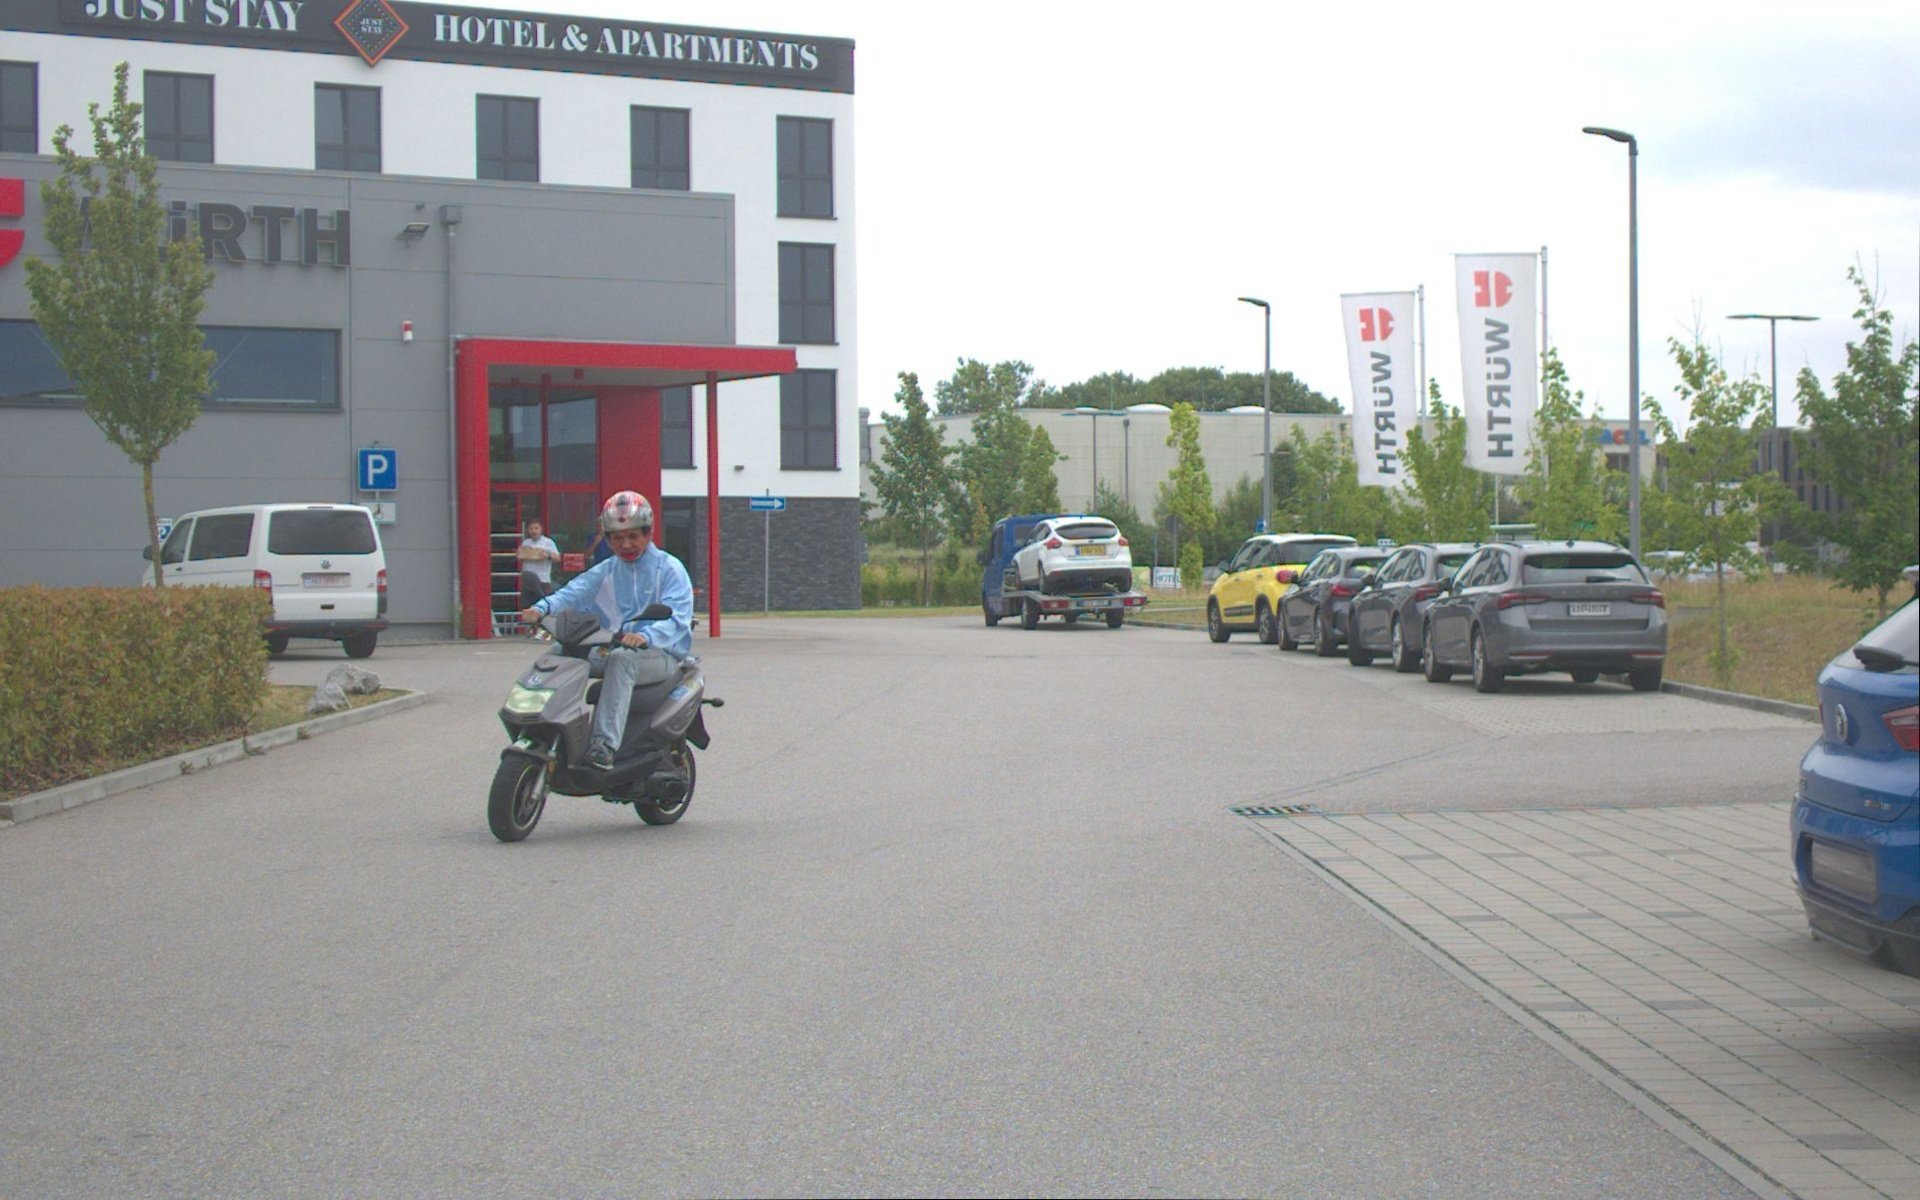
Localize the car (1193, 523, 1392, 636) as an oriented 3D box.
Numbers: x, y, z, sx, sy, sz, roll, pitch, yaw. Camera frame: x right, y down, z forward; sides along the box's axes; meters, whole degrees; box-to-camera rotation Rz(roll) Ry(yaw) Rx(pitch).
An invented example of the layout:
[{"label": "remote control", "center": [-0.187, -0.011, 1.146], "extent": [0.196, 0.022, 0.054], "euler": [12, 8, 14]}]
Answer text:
[{"label": "car", "center": [5.071, -0.305, 52.970], "extent": [1.856, 1.644, 4.001], "euler": [1, 0, -13]}]

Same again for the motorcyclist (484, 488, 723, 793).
[{"label": "motorcyclist", "center": [-1.786, 0.193, 17.302], "extent": [0.829, 1.484, 0.940], "euler": [-1, 0, 23]}]

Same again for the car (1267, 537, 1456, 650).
[{"label": "car", "center": [5.374, -0.113, 46.458], "extent": [1.751, 1.464, 4.108], "euler": [0, 1, -5]}]

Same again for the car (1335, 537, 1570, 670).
[{"label": "car", "center": [5.668, 0.006, 40.099], "extent": [1.751, 1.464, 4.477], "euler": [0, 1, -5]}]

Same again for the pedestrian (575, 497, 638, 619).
[{"label": "pedestrian", "center": [-5.276, -0.627, 51.253], "extent": [0.676, 1.796, 0.880], "euler": [-1, 1, -24]}]

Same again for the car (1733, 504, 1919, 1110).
[{"label": "car", "center": [4.494, 0.508, 9.683], "extent": [4.202, 1.539, 1.865], "euler": [0, 1, 0]}]

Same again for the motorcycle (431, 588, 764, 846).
[{"label": "motorcycle", "center": [-1.793, 0.553, 17.312], "extent": [0.793, 1.204, 1.919], "euler": [-1, 0, 24]}]

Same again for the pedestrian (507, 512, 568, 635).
[{"label": "pedestrian", "center": [-6.098, -0.386, 49.579], "extent": [0.623, 1.745, 0.905], "euler": [-1, 1, -24]}]

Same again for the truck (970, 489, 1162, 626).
[{"label": "truck", "center": [2.036, -0.774, 69.323], "extent": [2.331, 2.398, 7.897], "euler": [1, -2, -10]}]

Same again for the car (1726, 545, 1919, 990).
[{"label": "car", "center": [4.979, 0.519, 12.341], "extent": [4.061, 1.454, 1.776], "euler": [-1, 2, 1]}]

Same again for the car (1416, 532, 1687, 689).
[{"label": "car", "center": [5.810, 0.067, 34.250], "extent": [1.751, 1.464, 4.476], "euler": [0, 1, -2]}]

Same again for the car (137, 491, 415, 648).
[{"label": "car", "center": [-8.929, -0.386, 44.679], "extent": [2.055, 1.849, 4.061], "euler": [-4, 2, -34]}]

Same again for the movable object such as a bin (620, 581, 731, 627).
[{"label": "movable object such as a bin", "center": [-4.456, 0.059, 53.753], "extent": [1.488, 0.701, 0.965], "euler": [0, 0, -25]}]
